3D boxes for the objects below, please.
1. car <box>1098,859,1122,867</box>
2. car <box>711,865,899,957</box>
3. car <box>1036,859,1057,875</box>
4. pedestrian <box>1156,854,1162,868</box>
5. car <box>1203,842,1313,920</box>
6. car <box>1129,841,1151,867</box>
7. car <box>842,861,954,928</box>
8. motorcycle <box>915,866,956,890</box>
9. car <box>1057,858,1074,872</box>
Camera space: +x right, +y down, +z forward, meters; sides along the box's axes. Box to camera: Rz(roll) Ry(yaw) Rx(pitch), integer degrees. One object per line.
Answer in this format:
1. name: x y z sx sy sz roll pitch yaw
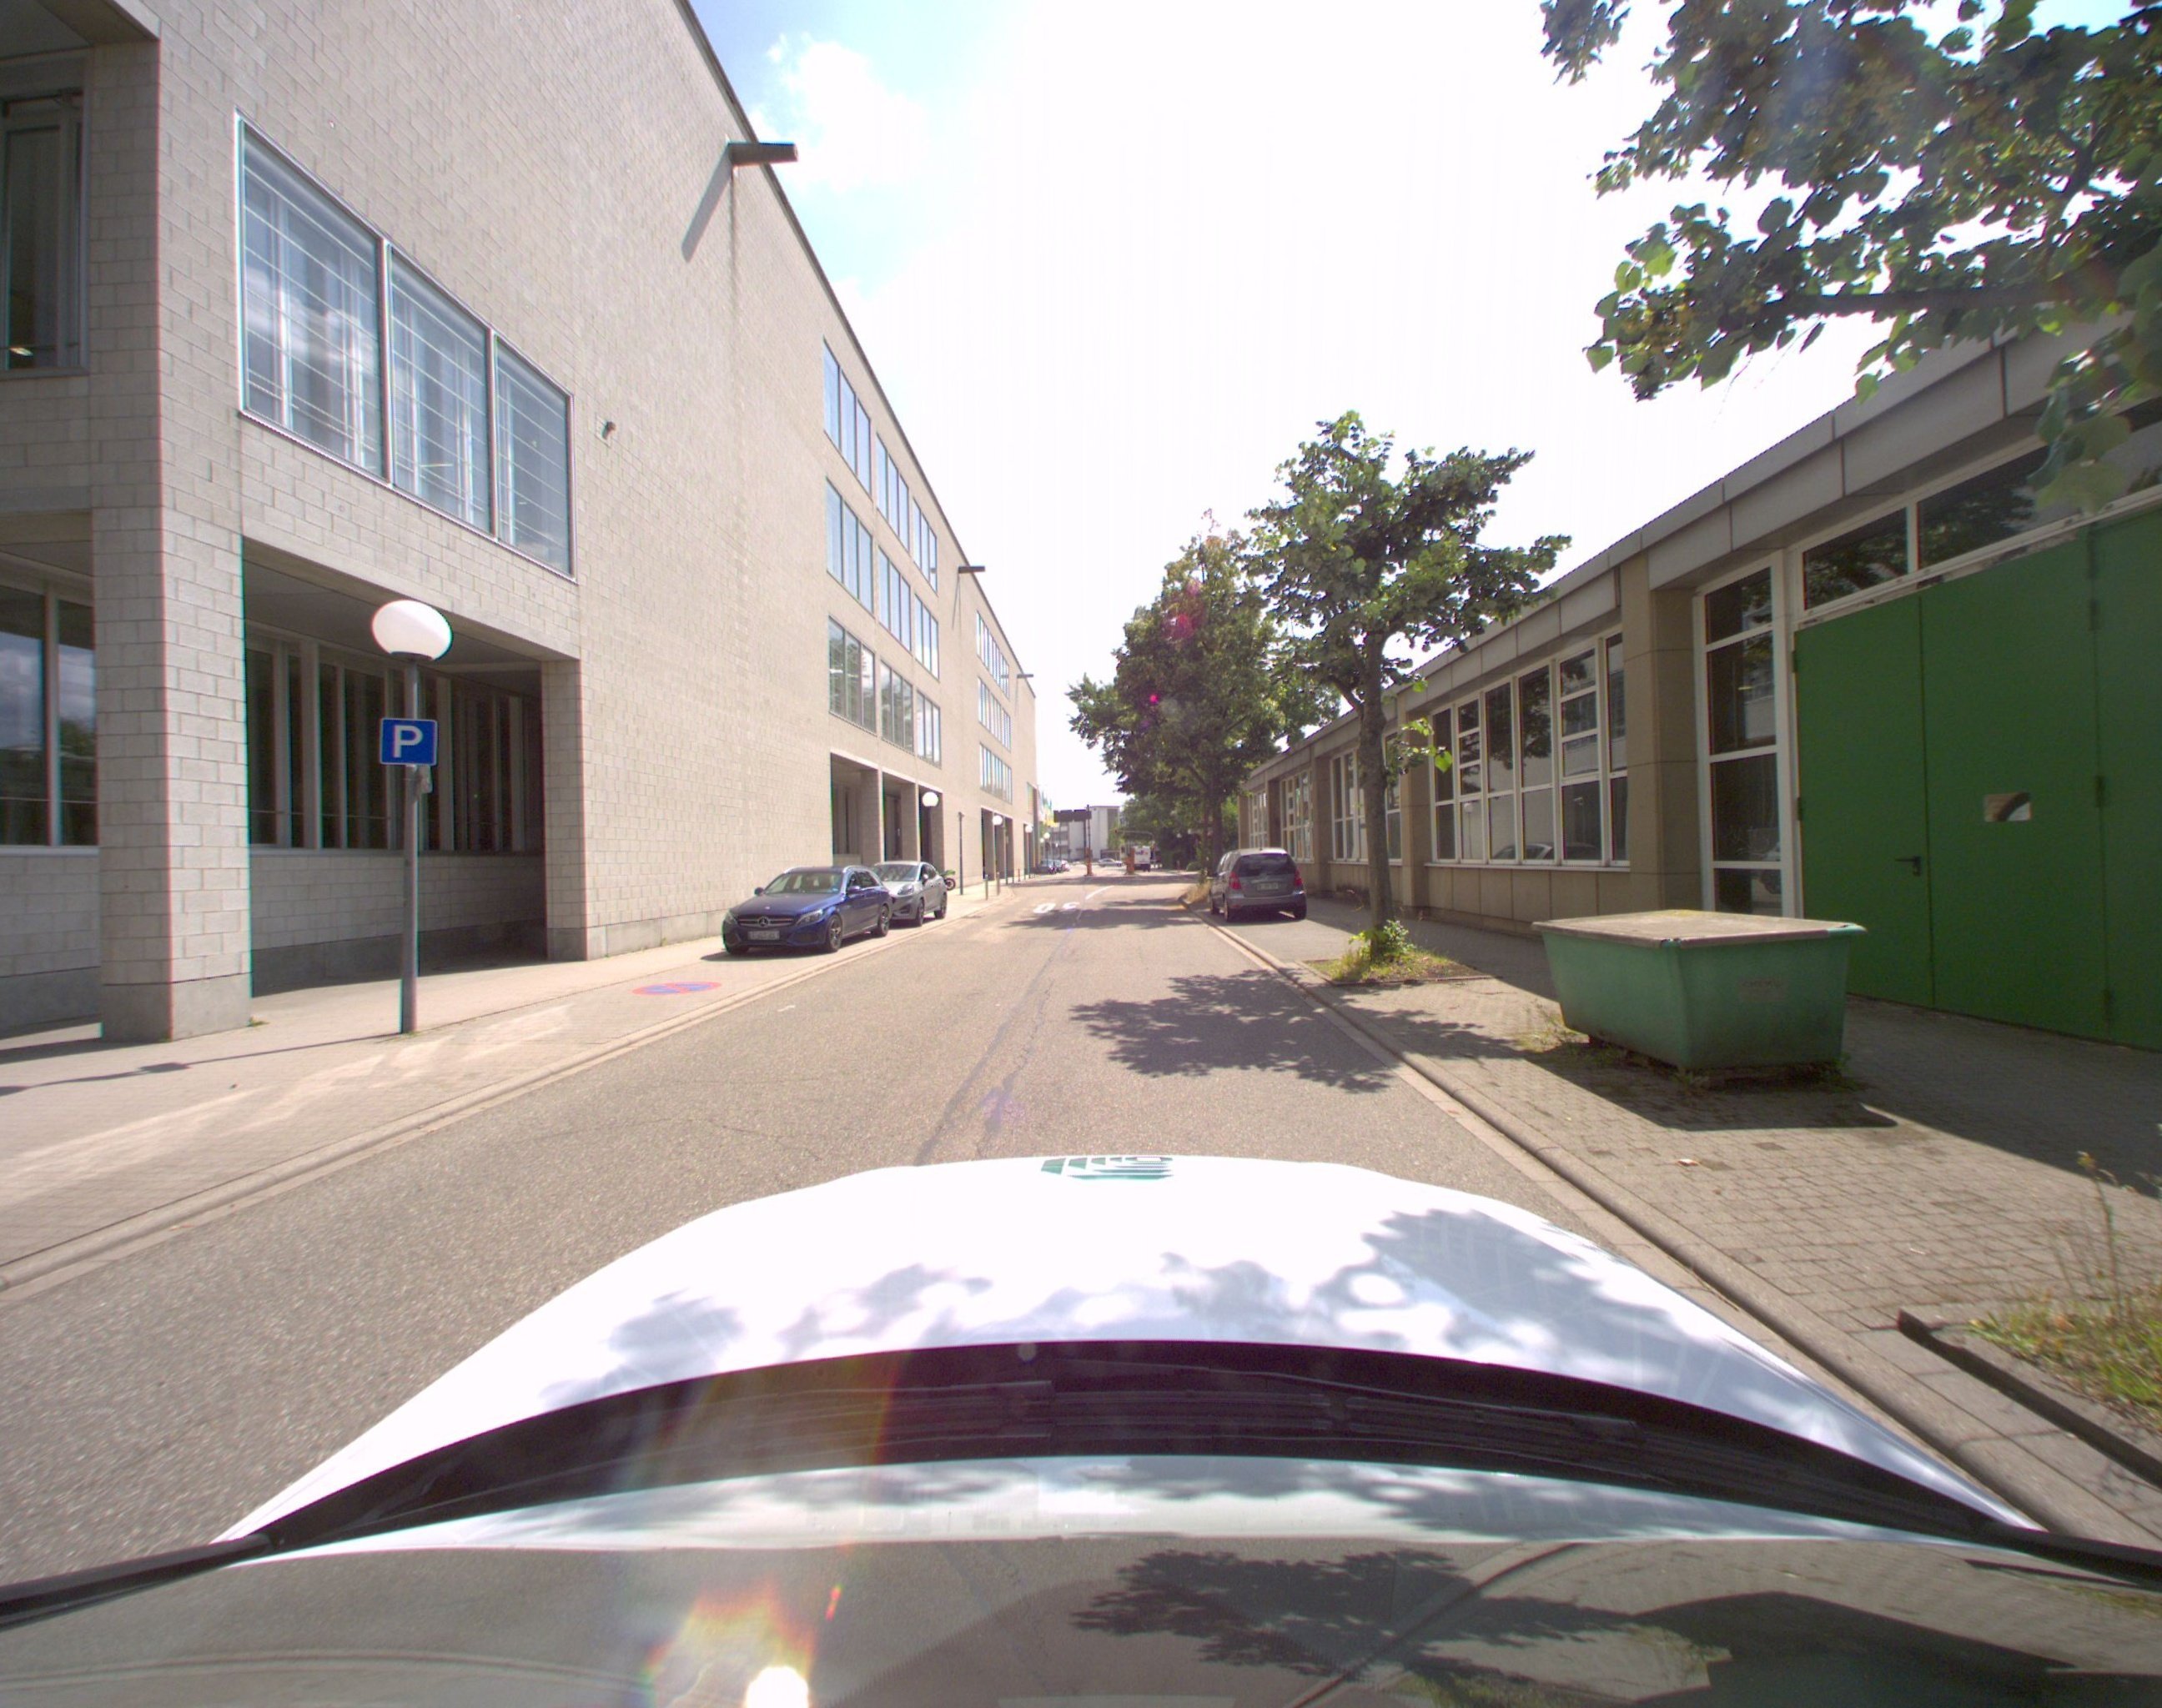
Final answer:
1. car: 4.763 1.442 132.543 3.712 1.330 1.669 -1 0 5
2. car: -4.874 0.939 15.101 1.758 1.427 4.239 -1 -1 4
3. car: -3.384 1.281 80.270 1.639 1.498 3.730 -2 -2 2
4. pedestrian: 9.340 0.838 97.895 0.657 1.729 0.635 -1 0 1
5. car: 4.056 0.579 19.284 1.851 1.574 4.003 -3 0 3
6. car: 5.942 0.007 82.104 2.075 2.539 4.318 -1 0 2
7. car: -4.427 0.925 20.361 1.624 1.485 4.181 -1 -1 3
8. motorcycle: -6.954 1.138 38.982 1.857 1.105 0.656 -1 0 -18
9. car: -1.712 1.264 92.103 1.639 1.498 3.730 -2 -2 2
